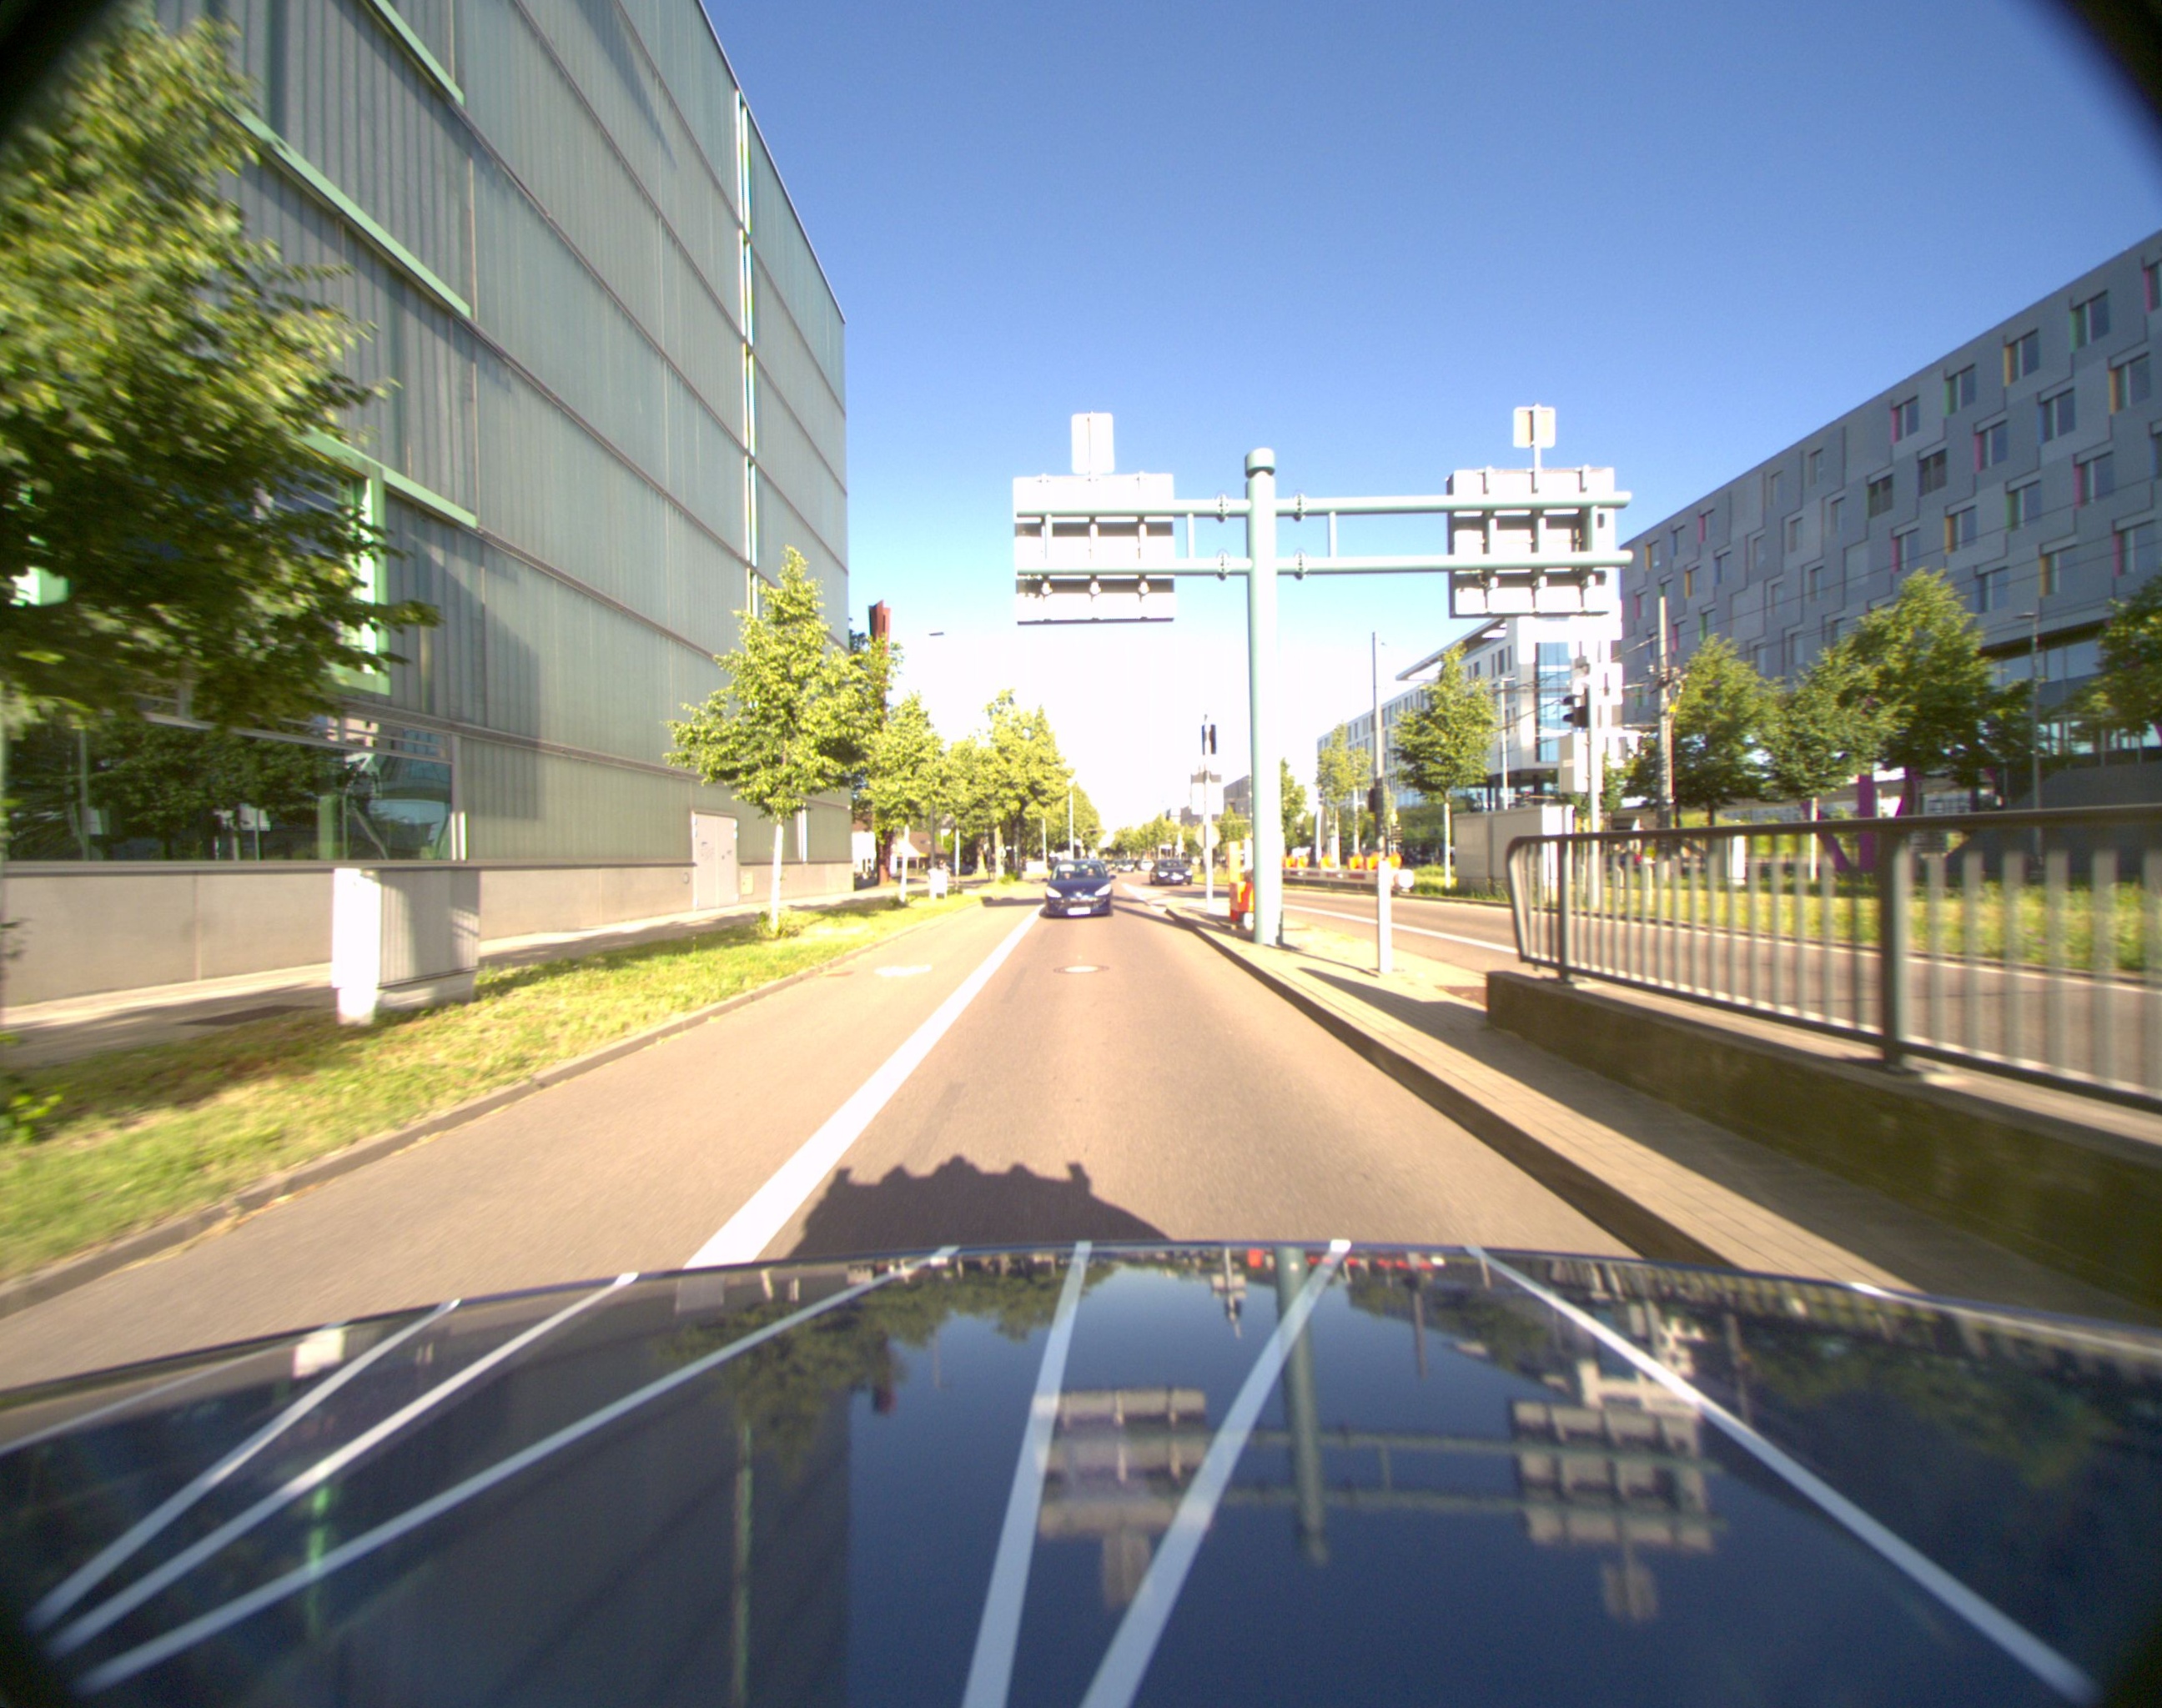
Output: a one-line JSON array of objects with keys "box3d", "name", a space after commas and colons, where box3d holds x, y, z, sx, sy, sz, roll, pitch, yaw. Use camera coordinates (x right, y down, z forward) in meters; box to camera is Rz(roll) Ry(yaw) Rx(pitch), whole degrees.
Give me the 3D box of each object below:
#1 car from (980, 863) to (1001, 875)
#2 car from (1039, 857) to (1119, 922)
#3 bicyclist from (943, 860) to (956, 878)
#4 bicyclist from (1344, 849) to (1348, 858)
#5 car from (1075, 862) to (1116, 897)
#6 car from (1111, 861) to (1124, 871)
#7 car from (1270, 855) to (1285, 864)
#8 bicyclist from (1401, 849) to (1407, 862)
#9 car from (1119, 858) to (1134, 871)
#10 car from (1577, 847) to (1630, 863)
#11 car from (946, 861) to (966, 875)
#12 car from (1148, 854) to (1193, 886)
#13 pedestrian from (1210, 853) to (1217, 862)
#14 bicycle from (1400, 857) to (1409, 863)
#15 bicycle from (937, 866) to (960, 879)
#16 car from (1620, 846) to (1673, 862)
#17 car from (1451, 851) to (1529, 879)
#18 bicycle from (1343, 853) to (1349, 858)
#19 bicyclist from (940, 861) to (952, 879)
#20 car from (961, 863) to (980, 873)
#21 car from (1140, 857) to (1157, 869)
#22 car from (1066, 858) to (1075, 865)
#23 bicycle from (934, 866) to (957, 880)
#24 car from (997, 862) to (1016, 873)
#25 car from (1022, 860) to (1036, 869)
[{"box3d": [-11.905, 1.947, 100.159, 1.898, 1.456, 4.038, -2, 0, 4], "name": "car"}, {"box3d": [0.069, 0.883, 21.032, 1.802, 1.518, 4.607, -3, 0, 4], "name": "car"}, {"box3d": [-12.496, 1.419, 72.125, 0.876, 1.727, 0.833, -1, 0, 13], "name": "bicyclist"}, {"box3d": [42.733, -0.099, 122.472, 0.483, 1.414, 0.553, -1, 0, 0], "name": "bicyclist"}, {"box3d": [0.797, 1.202, 37.910, 1.802, 1.518, 4.606, -3, 0, 3], "name": "car"}, {"box3d": [5.593, 1.808, 117.051, 1.839, 1.483, 4.006, -3, 0, 1], "name": "car"}, {"box3d": [38.081, 1.092, 147.414, 1.803, 1.518, 4.343, -3, 0, 0], "name": "car"}, {"box3d": [43.752, 0.191, 102.868, 0.531, 1.716, 0.837, -1, 0, 2], "name": "bicyclist"}, {"box3d": [5.502, 1.275, 91.968, 1.675, 1.418, 4.006, -3, 0, 2], "name": "car"}, {"box3d": [52.988, 0.074, 77.104, 3.996, 1.556, 2.001, -1, 0, 4], "name": "car"}, {"box3d": [-18.975, 2.079, 115.563, 1.898, 2.025, 5.072, 0, 0, 3], "name": "car"}, {"box3d": [4.729, 0.835, 40.654, 1.803, 1.518, 4.343, -3, 0, 0], "name": "car"}, {"box3d": [23.506, 0.633, 134.760, 1.068, 1.458, 0.844, -2, 0, 6], "name": "pedestrian"}, {"box3d": [43.764, 0.793, 102.892, 0.529, 0.857, 1.834, -1, 0, 2], "name": "bicycle"}, {"box3d": [-12.560, 1.779, 72.165, 2.100, 1.196, 0.552, -1, 0, 13], "name": "bicycle"}, {"box3d": [59.153, 0.027, 79.492, 3.996, 1.556, 2.001, -1, 0, 4], "name": "car"}, {"box3d": [24.205, 0.644, 45.204, 1.999, 1.553, 4.871, -1, 0, 0], "name": "car"}, {"box3d": [42.737, 0.288, 122.528, 0.482, 0.857, 1.692, -1, 0, 0], "name": "bicycle"}, {"box3d": [-12.676, 1.466, 71.211, 0.876, 1.644, 0.794, -1, 0, 13], "name": "bicyclist"}, {"box3d": [-18.270, 2.349, 125.397, 1.898, 1.477, 4.916, -2, 0, 6], "name": "car"}, {"box3d": [8.968, 1.152, 101.038, 1.676, 1.418, 4.005, -3, 0, -2], "name": "car"}, {"box3d": [-2.668, 1.957, 195.960, 1.998, 1.575, 4.001, -2, 0, 2], "name": "car"}, {"box3d": [-12.695, 1.778, 71.233, 2.100, 1.196, 0.552, -1, 0, 16], "name": "bicycle"}, {"box3d": [-11.156, 2.029, 113.969, 1.898, 1.479, 4.348, -2, 0, 5], "name": "car"}, {"box3d": [-9.057, 1.853, 133.506, 1.942, 1.372, 3.915, -2, 0, 3], "name": "car"}]
